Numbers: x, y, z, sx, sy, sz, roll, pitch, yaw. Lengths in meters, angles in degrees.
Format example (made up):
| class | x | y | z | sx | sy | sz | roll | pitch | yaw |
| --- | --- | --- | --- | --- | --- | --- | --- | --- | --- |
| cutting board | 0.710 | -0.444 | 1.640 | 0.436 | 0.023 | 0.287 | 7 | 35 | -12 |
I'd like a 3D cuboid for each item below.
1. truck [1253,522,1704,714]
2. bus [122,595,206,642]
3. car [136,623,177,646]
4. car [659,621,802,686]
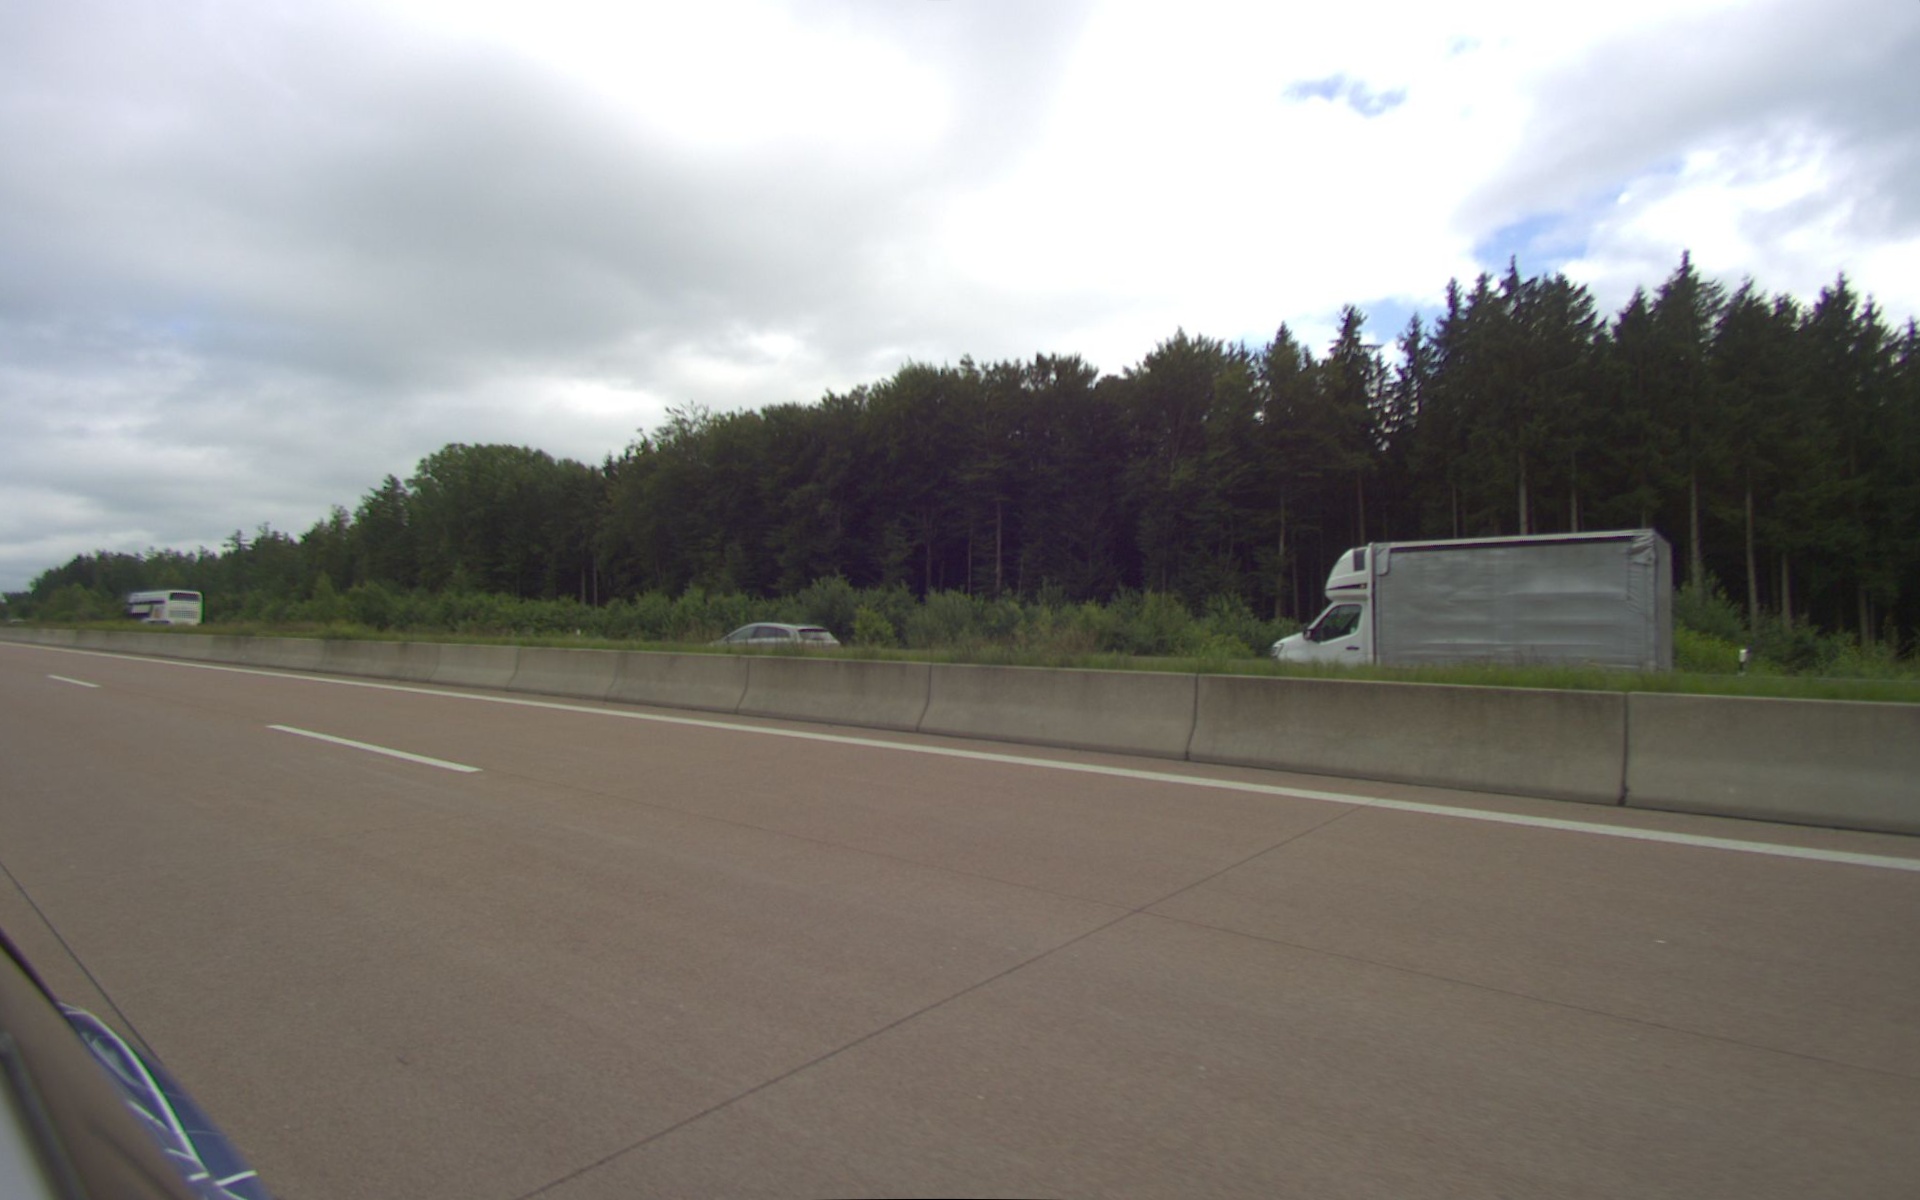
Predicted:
| class | x | y | z | sx | sy | sz | roll | pitch | yaw |
| --- | --- | --- | --- | --- | --- | --- | --- | --- | --- |
| truck | 9.781 | 0.310 | 19.773 | 7.477 | 3.122 | 2.333 | -1 | 1 | 41 |
| bus | -70.668 | 1.668 | 89.690 | 14.351 | 3.918 | 3.018 | -1 | -1 | 40 |
| car | -60.419 | 2.565 | 76.052 | 3.998 | 1.630 | 1.716 | -1 | 0 | 41 |
| car | -6.726 | 1.490 | 29.462 | 4.163 | 1.665 | 1.973 | -1 | 1 | 41 |
